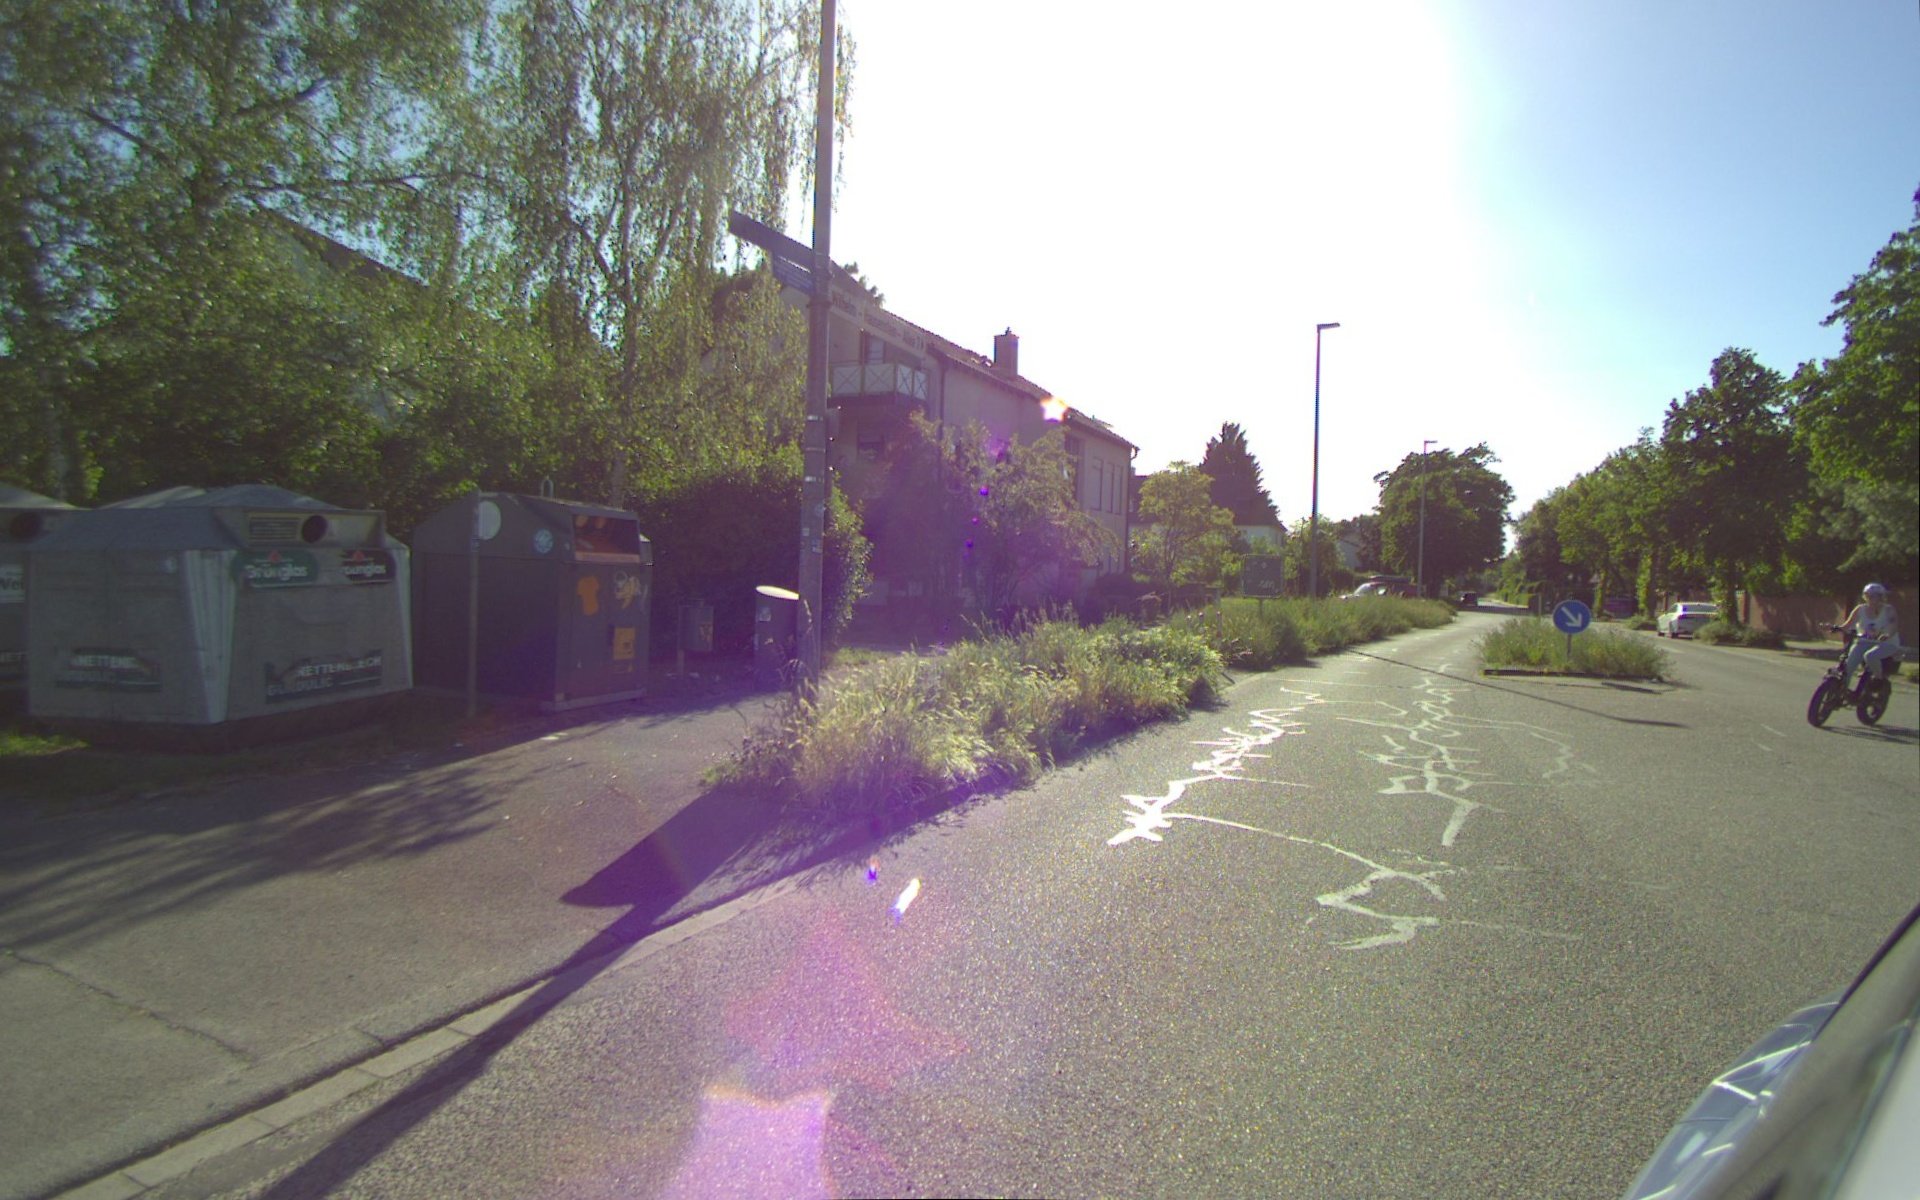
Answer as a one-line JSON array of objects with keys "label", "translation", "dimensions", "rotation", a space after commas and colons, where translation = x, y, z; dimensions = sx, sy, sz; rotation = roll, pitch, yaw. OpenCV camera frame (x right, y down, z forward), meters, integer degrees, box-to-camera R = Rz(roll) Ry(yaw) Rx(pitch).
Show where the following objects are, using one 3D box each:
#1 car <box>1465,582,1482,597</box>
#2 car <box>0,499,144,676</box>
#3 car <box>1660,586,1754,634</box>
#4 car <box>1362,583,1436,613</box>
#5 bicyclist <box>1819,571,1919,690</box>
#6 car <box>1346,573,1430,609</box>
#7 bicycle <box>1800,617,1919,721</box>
[{"label": "car", "translation": [66.810, -1.405, 131.660], "dimensions": [1.982, 1.838, 3.962], "rotation": [3, 2, 27]}, {"label": "car", "translation": [-8.941, -0.133, 7.707], "dimensions": [1.612, 1.456, 4.044], "rotation": [2, 1, 16]}, {"label": "car", "translation": [29.504, 0.352, 40.108], "dimensions": [1.977, 1.679, 3.972], "rotation": [2, 2, 21]}, {"label": "car", "translation": [23.889, -0.119, 55.160], "dimensions": [3.335, 1.459, 1.614], "rotation": [2, 2, 6]}, {"label": "bicyclist", "translation": [10.935, 0.351, 12.110], "dimensions": [0.821, 1.364, 0.640], "rotation": [1, 2, -22]}, {"label": "car", "translation": [22.151, -0.489, 52.460], "dimensions": [3.575, 1.738, 1.752], "rotation": [1, 2, -8]}, {"label": "bicycle", "translation": [10.923, 0.819, 12.125], "dimensions": [1.858, 1.159, 0.459], "rotation": [2, 2, -23]}]
